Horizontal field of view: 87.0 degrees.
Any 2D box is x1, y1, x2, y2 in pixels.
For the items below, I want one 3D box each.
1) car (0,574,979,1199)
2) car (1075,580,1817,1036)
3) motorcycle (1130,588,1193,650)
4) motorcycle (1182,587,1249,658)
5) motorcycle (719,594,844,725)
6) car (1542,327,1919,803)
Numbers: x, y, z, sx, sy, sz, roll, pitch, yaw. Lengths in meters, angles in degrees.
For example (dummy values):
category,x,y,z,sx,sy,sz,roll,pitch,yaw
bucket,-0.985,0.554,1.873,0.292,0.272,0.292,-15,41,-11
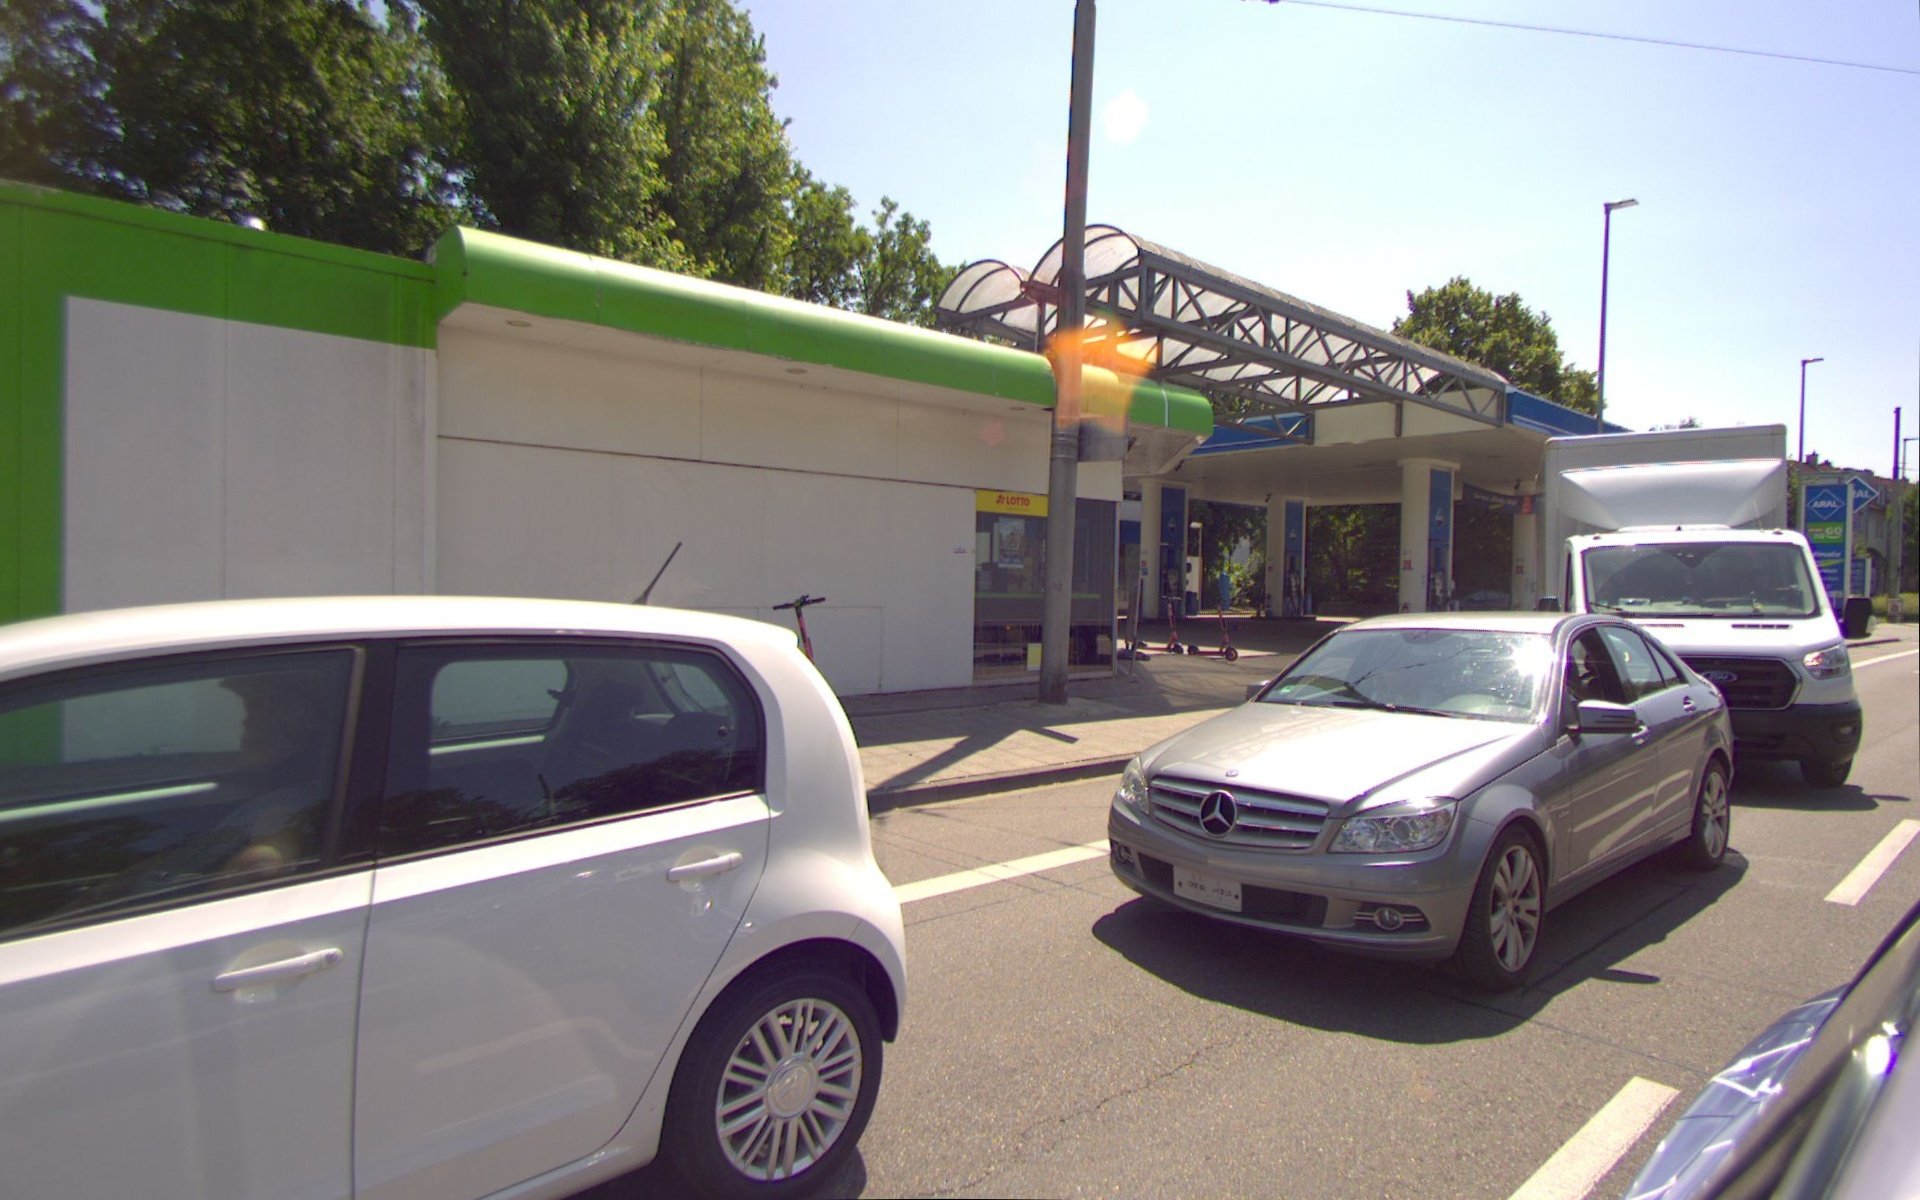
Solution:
category,x,y,z,sx,sy,sz,roll,pitch,yaw
car,-1.749,0.692,2.325,3.374,1.466,1.612,1,0,-40
car,3.071,0.697,5.650,5.206,1.492,1.716,0,-1,-40
motorcycle,3.957,0.367,19.916,0.389,1.127,1.156,2,2,-41
motorcycle,4.777,0.406,18.996,0.357,1.225,1.156,2,2,-41
motorcycle,-1.637,0.523,9.334,1.098,1.118,0.253,-1,7,-40
car,7.943,-0.278,11.470,2.211,3.377,8.546,0,0,29
